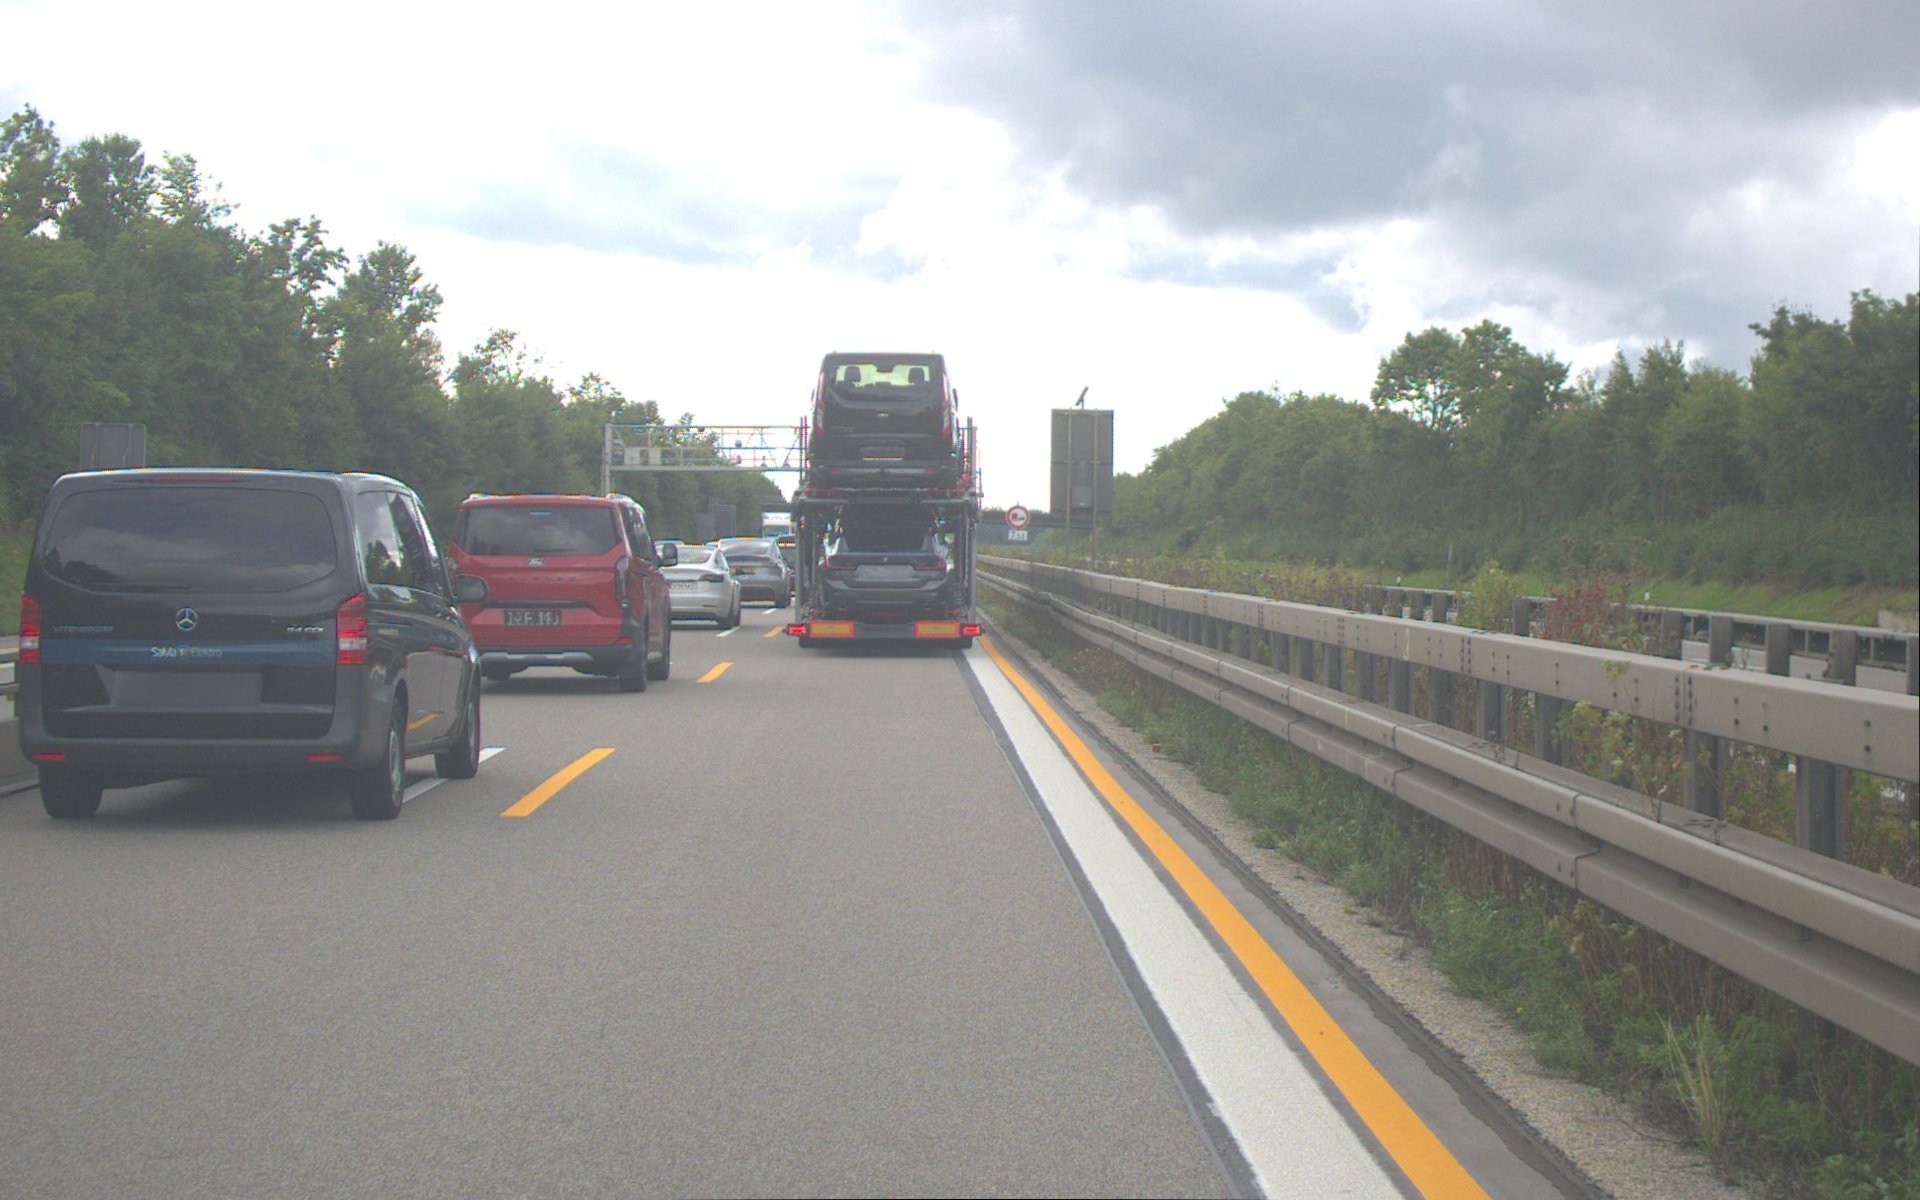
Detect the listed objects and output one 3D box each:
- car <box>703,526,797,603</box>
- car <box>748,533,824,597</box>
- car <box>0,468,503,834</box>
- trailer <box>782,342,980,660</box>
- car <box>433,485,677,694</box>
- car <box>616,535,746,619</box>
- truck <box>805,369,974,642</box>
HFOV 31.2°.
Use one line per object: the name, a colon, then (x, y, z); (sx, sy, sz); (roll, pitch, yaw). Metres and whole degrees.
car: (-4.845, -0.837, 79.776); (2.031, 1.751, 4.578); (0, 1, -2)
car: (-4.842, -1.006, 96.231); (2.031, 1.751, 4.578); (0, 1, -2)
car: (-4.005, 0.206, 20.088); (1.993, 1.836, 5.610); (0, 1, -1)
trailer: (-1.049, -1.368, 49.922); (2.515, 4.091, 11.114); (1, 1, 0)
car: (-4.084, -0.143, 35.357); (2.031, 2.007, 4.578); (0, 1, -1)
car: (-4.837, -0.426, 60.161); (2.031, 1.426, 4.578); (0, 1, -2)
truck: (-1.073, -1.475, 54.667); (2.515, 4.091, 5.685); (1, 1, 0)
